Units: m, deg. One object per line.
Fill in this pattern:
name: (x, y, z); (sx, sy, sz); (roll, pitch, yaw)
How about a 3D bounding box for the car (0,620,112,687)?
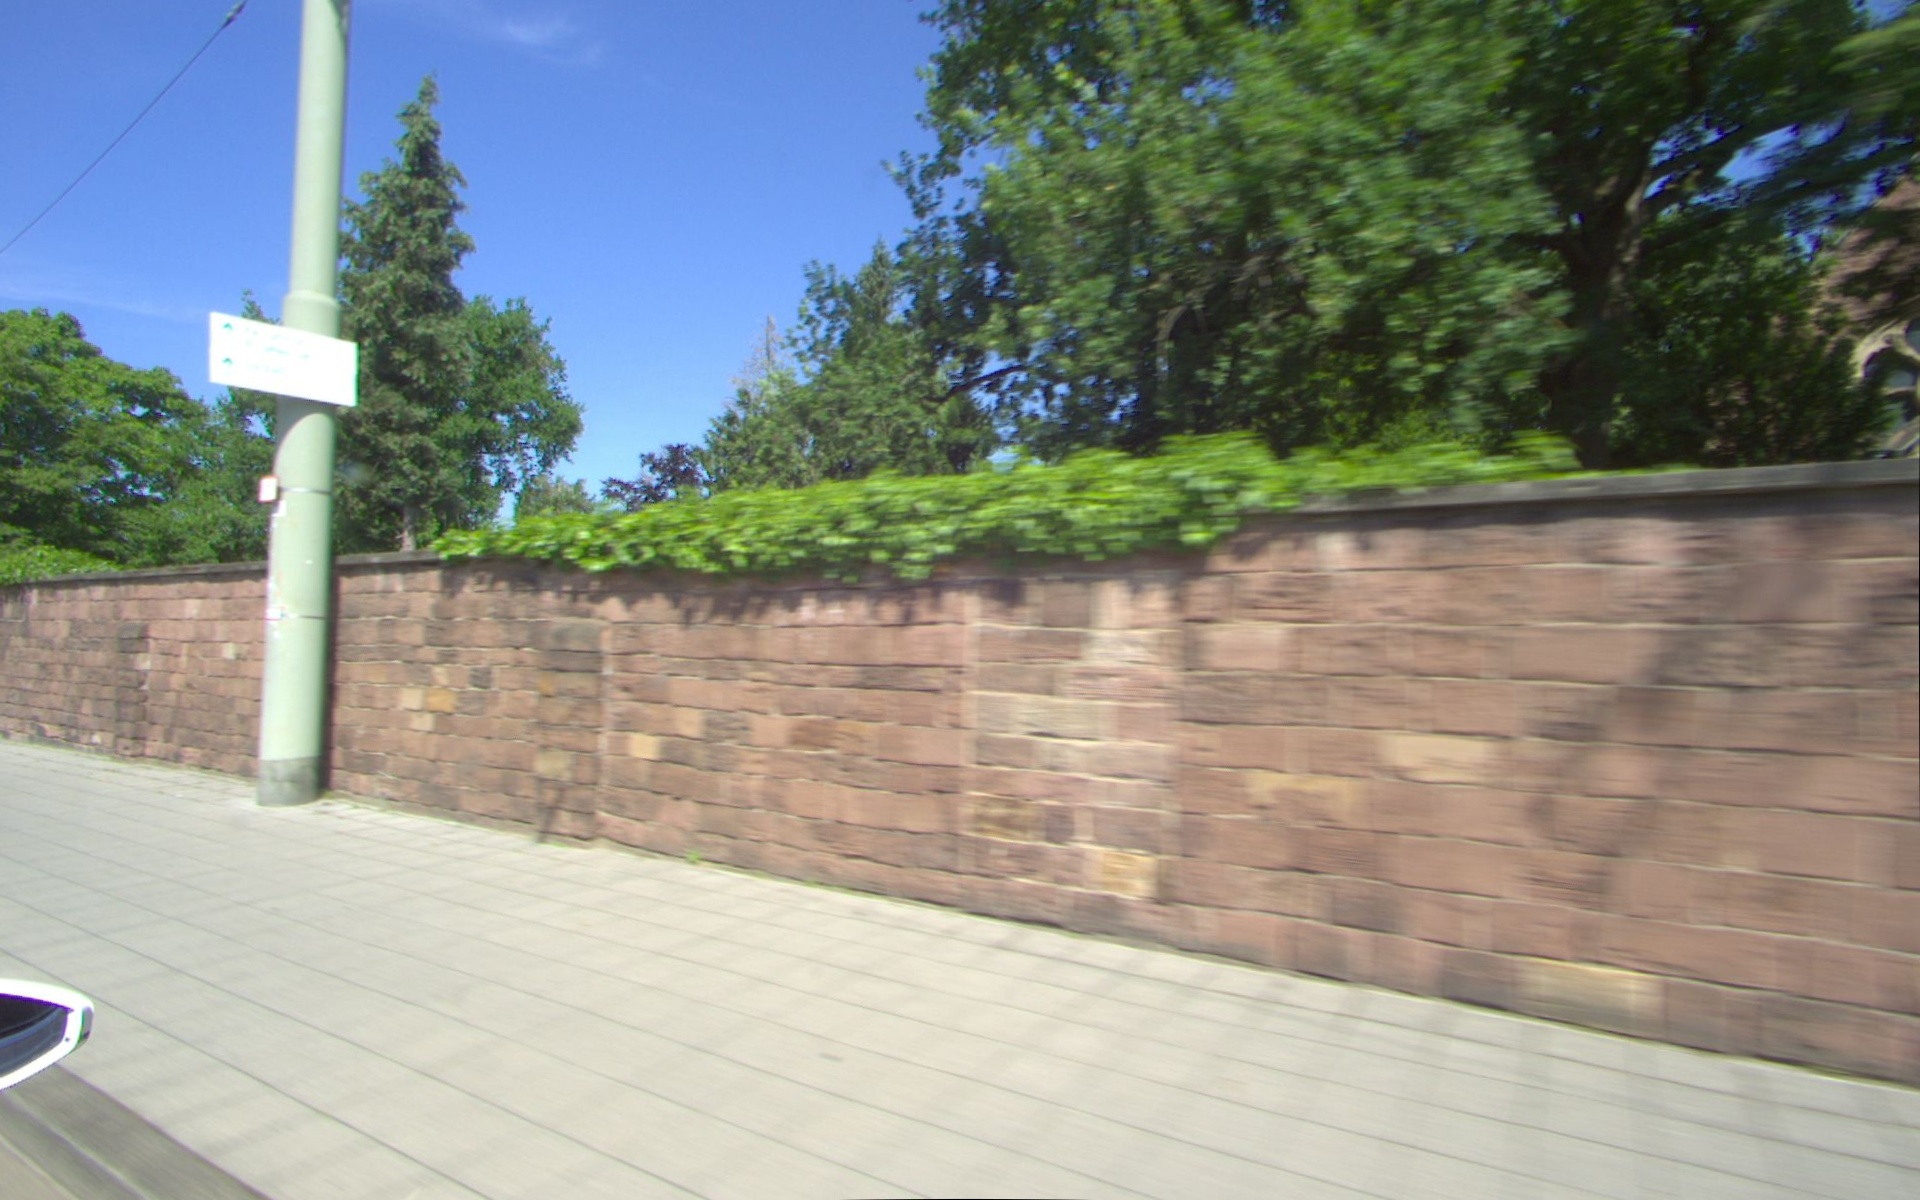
car: (-21.523, 1.190, 22.518); (1.502, 1.482, 3.404); (0, -3, 32)
